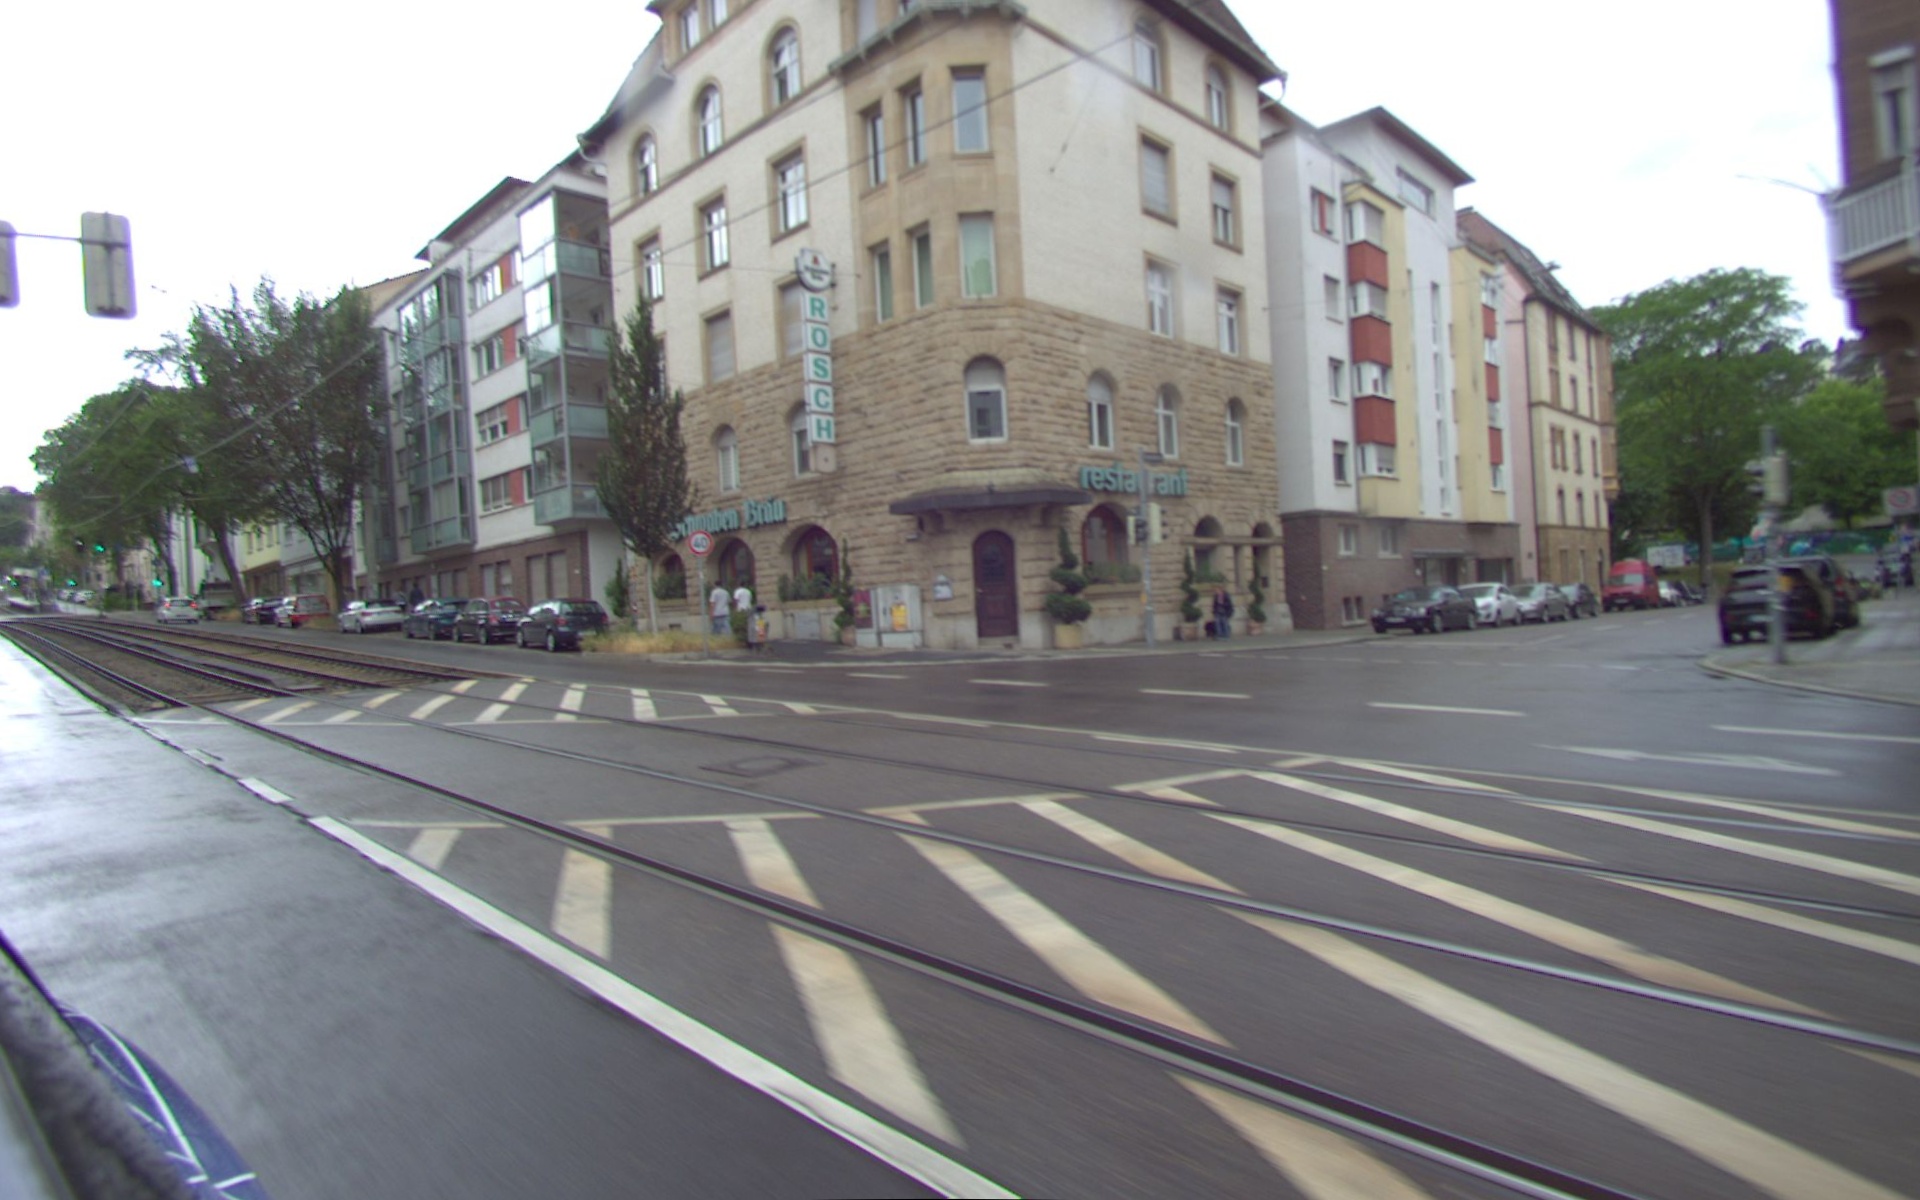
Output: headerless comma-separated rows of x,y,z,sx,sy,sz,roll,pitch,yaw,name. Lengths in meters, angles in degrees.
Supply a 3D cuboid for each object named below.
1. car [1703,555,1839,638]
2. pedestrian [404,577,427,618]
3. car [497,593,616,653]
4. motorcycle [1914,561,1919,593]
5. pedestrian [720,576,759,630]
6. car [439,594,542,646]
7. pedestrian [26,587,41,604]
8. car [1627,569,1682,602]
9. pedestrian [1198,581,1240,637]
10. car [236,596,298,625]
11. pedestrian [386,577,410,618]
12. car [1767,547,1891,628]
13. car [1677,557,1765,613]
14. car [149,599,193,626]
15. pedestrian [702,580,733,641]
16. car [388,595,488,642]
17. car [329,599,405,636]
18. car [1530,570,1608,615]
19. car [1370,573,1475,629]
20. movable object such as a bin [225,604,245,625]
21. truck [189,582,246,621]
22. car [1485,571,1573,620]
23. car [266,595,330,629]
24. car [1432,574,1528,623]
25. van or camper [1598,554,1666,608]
17.281,-0.127,21.497,1.844,1.577,4.164,-1,1,44,car
-24.549,-0.123,45.651,0.783,1.785,0.666,0,2,45,pedestrian
-11.765,0.628,29.370,3.896,1.564,1.745,0,2,44,car
39.060,-0.961,40.126,2.809,1.267,0.893,-2,1,-27,motorcycle
-5.994,0.075,27.480,0.746,1.432,0.646,-3,2,-45,pedestrian
-15.195,0.620,32.677,3.526,1.509,1.787,0,2,43,car
-97.299,-0.501,106.304,0.966,1.796,1.104,0,2,44,pedestrian
36.660,-0.778,53.394,1.791,1.630,3.943,-1,1,44,car
6.673,0.217,26.073,0.807,1.426,0.722,-2,2,-42,pedestrian
-38.067,0.547,55.534,4.470,1.451,1.885,0,2,44,car
-25.081,-0.106,45.161,0.783,1.785,0.666,0,2,45,pedestrian
21.521,-0.349,25.018,3.939,1.825,1.815,-3,2,-42,car
24.829,-0.512,32.970,1.836,1.680,3.943,-1,1,43,car
-46.294,0.726,59.324,1.608,1.493,3.583,-2,2,-44,car
-6.465,0.266,26.952,0.511,1.582,0.644,-2,1,-44,pedestrian
-18.657,0.644,36.069,4.432,1.465,1.781,-1,3,44,car
-24.888,0.715,42.416,4.132,1.345,1.683,0,4,45,car
23.949,-0.310,39.736,1.791,1.630,3.943,-1,1,44,car
13.350,0.011,29.105,1.718,1.503,3.946,-1,0,40,car
-41.093,0.808,57.362,0.670,1.130,0.717,0,1,39,movable object such as a bin
-48.135,0.047,65.528,2.166,2.363,6.359,-2,2,-43,truck
20.412,-0.190,36.236,1.791,1.630,3.943,-1,1,44,car
-32.931,0.564,50.322,4.160,1.581,1.757,0,2,44,car
17.018,-0.083,33.042,1.818,1.493,3.944,-1,0,43,car
32.828,-0.972,49.413,1.937,2.497,4.677,-1,1,44,van or camper
